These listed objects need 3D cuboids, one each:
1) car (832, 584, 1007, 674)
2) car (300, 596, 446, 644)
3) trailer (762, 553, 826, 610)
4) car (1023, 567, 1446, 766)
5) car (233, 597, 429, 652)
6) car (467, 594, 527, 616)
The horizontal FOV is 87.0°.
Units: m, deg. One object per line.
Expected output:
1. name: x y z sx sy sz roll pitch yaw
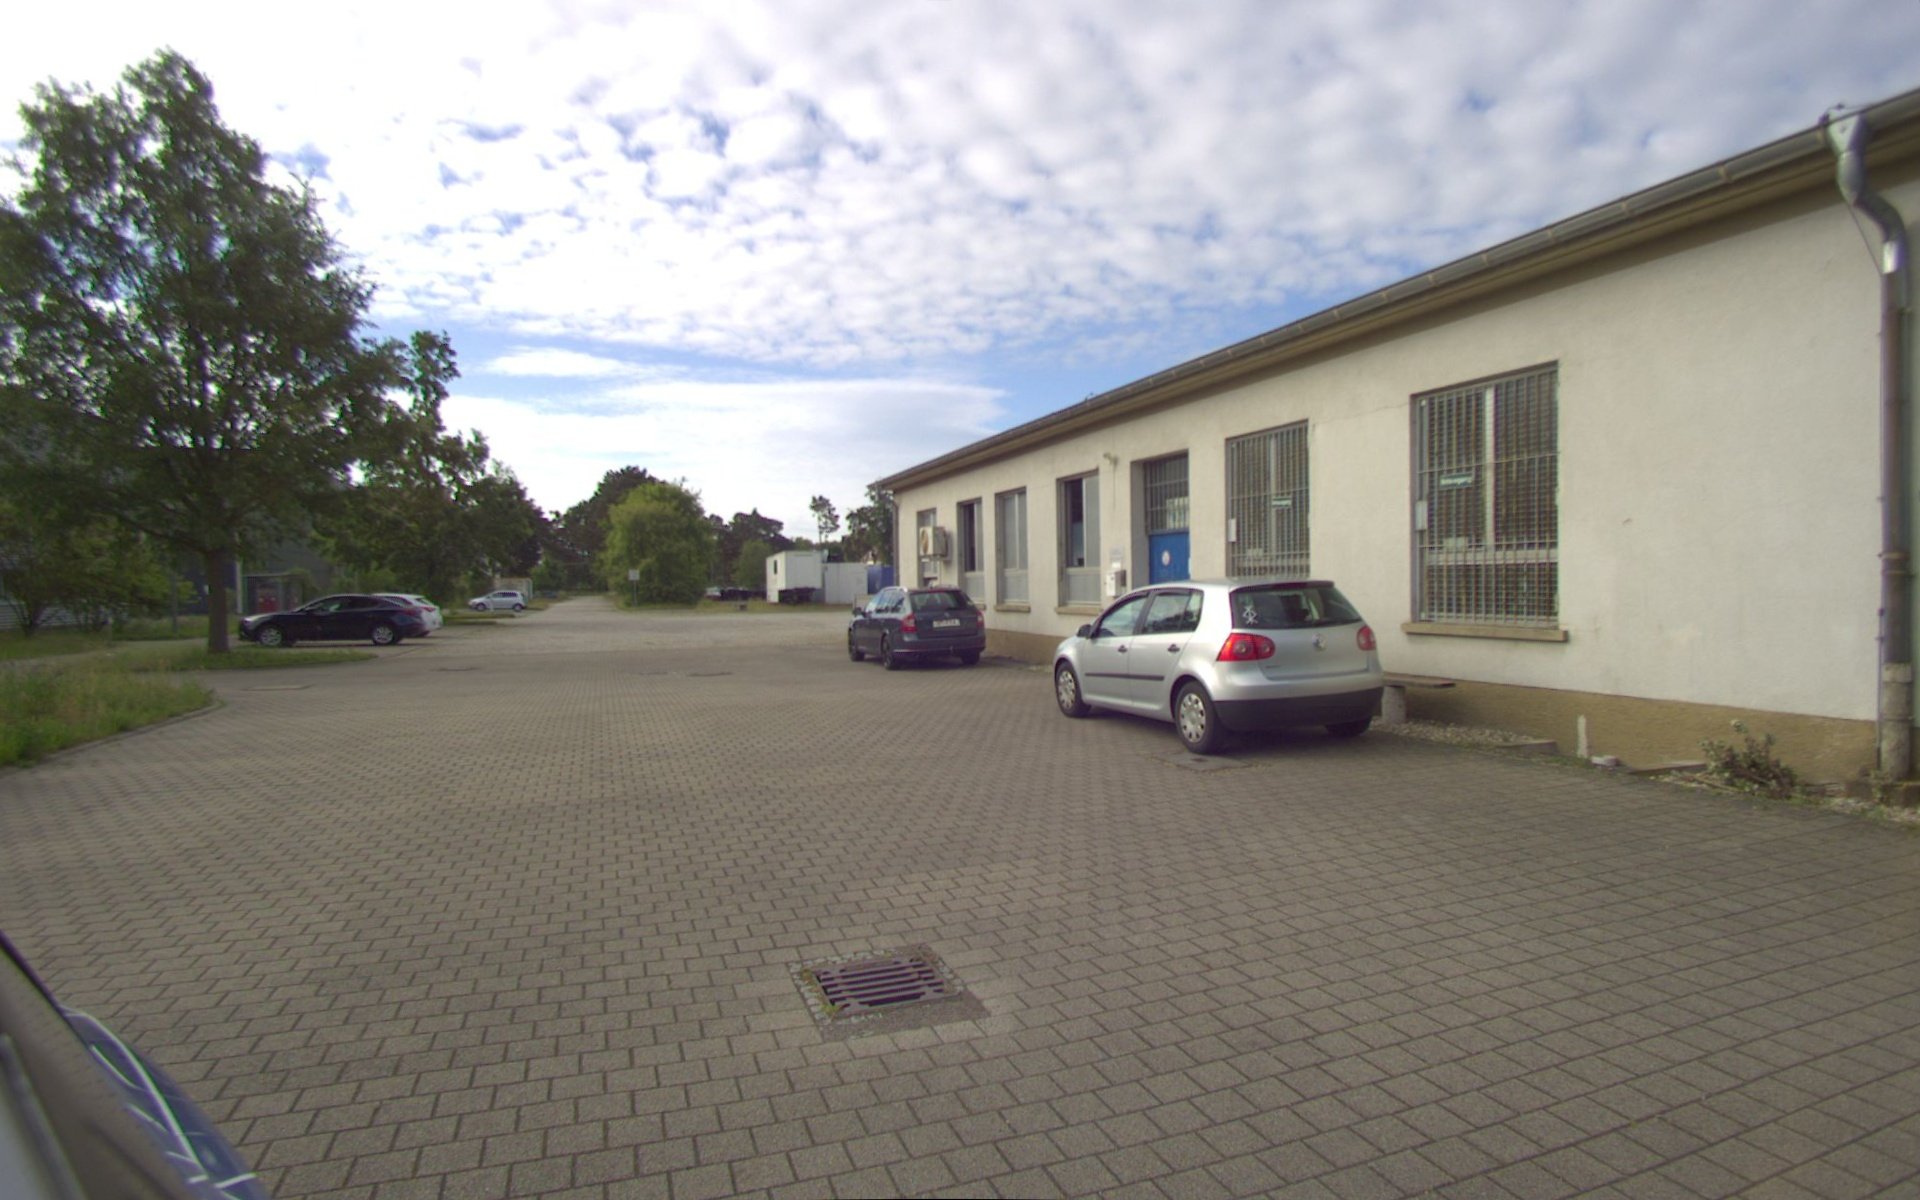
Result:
1. car: -0.942 0.479 19.445 1.897 1.472 4.827 -1 0 -21
2. car: -19.384 0.628 33.621 3.920 1.477 1.889 -1 0 -20
3. trailer: -11.777 -1.255 71.063 2.829 3.689 10.811 -1 1 -18
4. car: 2.396 0.493 10.174 1.898 1.450 4.382 -3 1 -19
5. car: -17.656 0.665 28.664 4.401 1.458 1.951 0 0 -20
6. car: -35.279 0.362 77.167 4.062 1.637 1.946 1 0 -22
